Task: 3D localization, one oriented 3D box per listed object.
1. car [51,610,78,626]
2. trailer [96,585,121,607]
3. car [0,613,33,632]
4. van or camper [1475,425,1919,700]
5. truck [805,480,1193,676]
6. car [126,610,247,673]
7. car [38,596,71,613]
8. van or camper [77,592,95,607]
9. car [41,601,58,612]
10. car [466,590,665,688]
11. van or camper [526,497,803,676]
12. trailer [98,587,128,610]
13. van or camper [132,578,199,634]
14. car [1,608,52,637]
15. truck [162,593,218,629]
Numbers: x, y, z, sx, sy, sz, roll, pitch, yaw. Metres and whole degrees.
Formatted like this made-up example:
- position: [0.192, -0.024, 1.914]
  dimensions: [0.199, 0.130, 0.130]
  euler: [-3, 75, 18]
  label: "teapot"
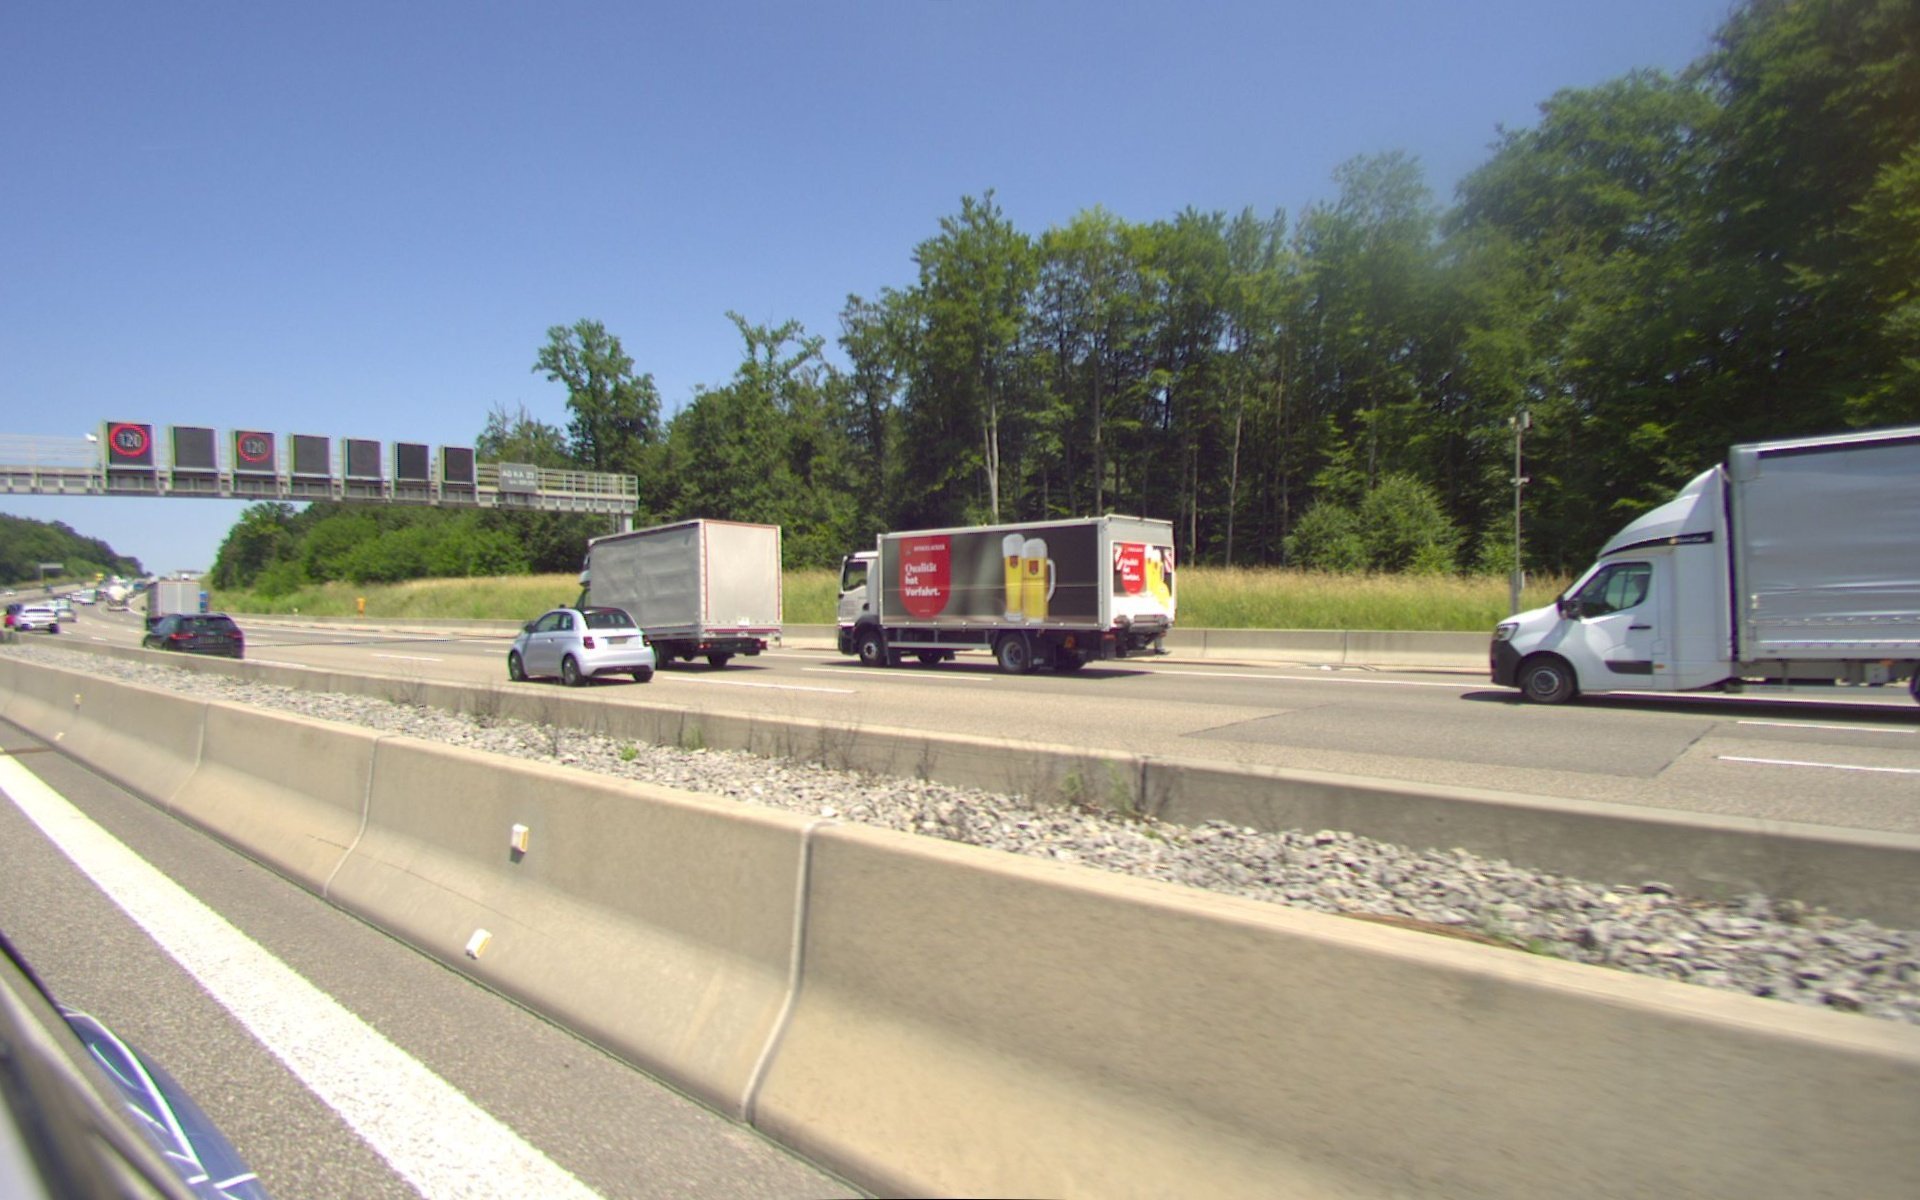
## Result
- position: [-86.874, 1.756, 98.137]
  dimensions: [4.353, 1.412, 1.681]
  euler: [1, 0, 45]
  label: "car"
- position: [-171.176, -0.889, 203.544]
  dimensions: [2.992, 4.393, 14.308]
  euler: [-1, 1, -37]
  label: "trailer"
- position: [-75.015, 1.753, 80.108]
  dimensions: [5.221, 1.453, 2.025]
  euler: [-1, 0, 43]
  label: "car"
- position: [11.409, -0.465, 13.072]
  dimensions: [8.092, 3.148, 2.735]
  euler: [1, 1, 42]
  label: "van or camper"
- position: [0.539, -0.486, 23.376]
  dimensions: [9.236, 3.724, 2.840]
  euler: [1, 1, 41]
  label: "truck"
- position: [-21.879, 1.111, 28.554]
  dimensions: [4.844, 1.602, 1.972]
  euler: [-1, -1, 43]
  label: "car"
- position: [-108.223, 0.524, 120.890]
  dimensions: [7.139, 2.071, 2.172]
  euler: [0, 0, 42]
  label: "car"
- position: [-173.171, -0.100, 200.605]
  dimensions: [2.526, 2.953, 7.363]
  euler: [0, 1, -40]
  label: "van or camper"
- position: [-138.315, 1.010, 153.644]
  dimensions: [4.613, 1.537, 1.656]
  euler: [1, 2, 45]
  label: "car"
- position: [-8.224, 0.745, 20.823]
  dimensions: [5.117, 1.776, 1.721]
  euler: [-1, -1, 42]
  label: "car"
- position: [-7.723, -0.369, 25.683]
  dimensions: [8.213, 3.867, 2.800]
  euler: [1, 2, 42]
  label: "van or camper"
- position: [-134.877, -0.330, 161.128]
  dimensions: [10.499, 3.561, 2.621]
  euler: [1, 2, 45]
  label: "trailer"
- position: [-55.617, 0.414, 70.782]
  dimensions: [7.756, 3.706, 2.404]
  euler: [-1, 0, 42]
  label: "van or camper"
- position: [-58.657, 1.375, 63.558]
  dimensions: [5.345, 1.750, 1.966]
  euler: [0, 1, 43]
  label: "car"
- position: [-68.015, 0.880, 89.360]
  dimensions: [5.844, 3.014, 2.821]
  euler: [1, 1, 42]
  label: "truck"
